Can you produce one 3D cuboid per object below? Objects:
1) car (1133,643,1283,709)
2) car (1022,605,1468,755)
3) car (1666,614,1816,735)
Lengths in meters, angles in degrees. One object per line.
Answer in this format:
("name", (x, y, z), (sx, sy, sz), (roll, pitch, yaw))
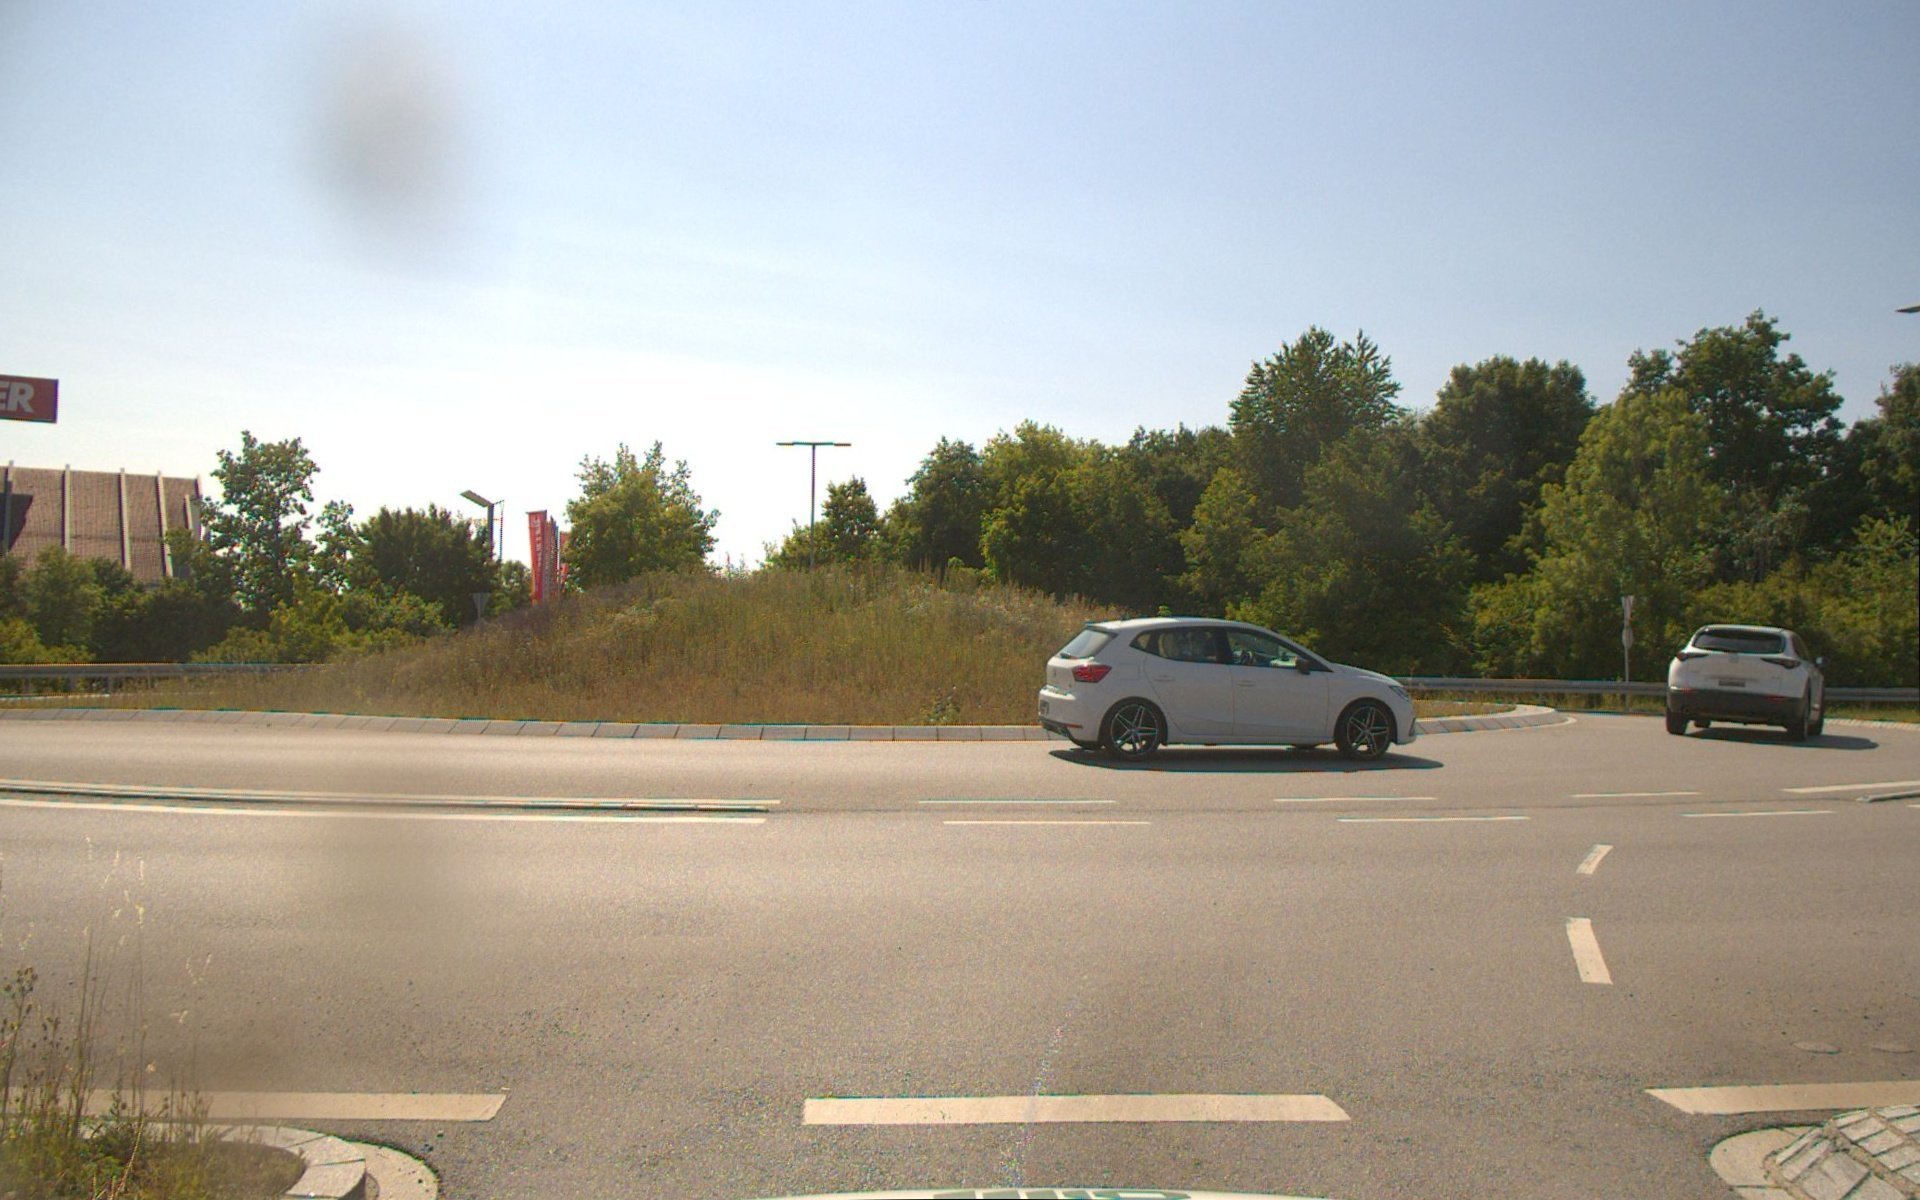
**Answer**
("car", (6.795, 2.071, 45.627), (1.764, 1.624, 3.944), (2, -1, -39))
("car", (2.955, 0.831, 17.584), (4.320, 1.430, 1.788), (2, -1, -9))
("car", (11.285, 1.029, 23.768), (1.751, 1.557, 4.281), (-1, -2, 28))
